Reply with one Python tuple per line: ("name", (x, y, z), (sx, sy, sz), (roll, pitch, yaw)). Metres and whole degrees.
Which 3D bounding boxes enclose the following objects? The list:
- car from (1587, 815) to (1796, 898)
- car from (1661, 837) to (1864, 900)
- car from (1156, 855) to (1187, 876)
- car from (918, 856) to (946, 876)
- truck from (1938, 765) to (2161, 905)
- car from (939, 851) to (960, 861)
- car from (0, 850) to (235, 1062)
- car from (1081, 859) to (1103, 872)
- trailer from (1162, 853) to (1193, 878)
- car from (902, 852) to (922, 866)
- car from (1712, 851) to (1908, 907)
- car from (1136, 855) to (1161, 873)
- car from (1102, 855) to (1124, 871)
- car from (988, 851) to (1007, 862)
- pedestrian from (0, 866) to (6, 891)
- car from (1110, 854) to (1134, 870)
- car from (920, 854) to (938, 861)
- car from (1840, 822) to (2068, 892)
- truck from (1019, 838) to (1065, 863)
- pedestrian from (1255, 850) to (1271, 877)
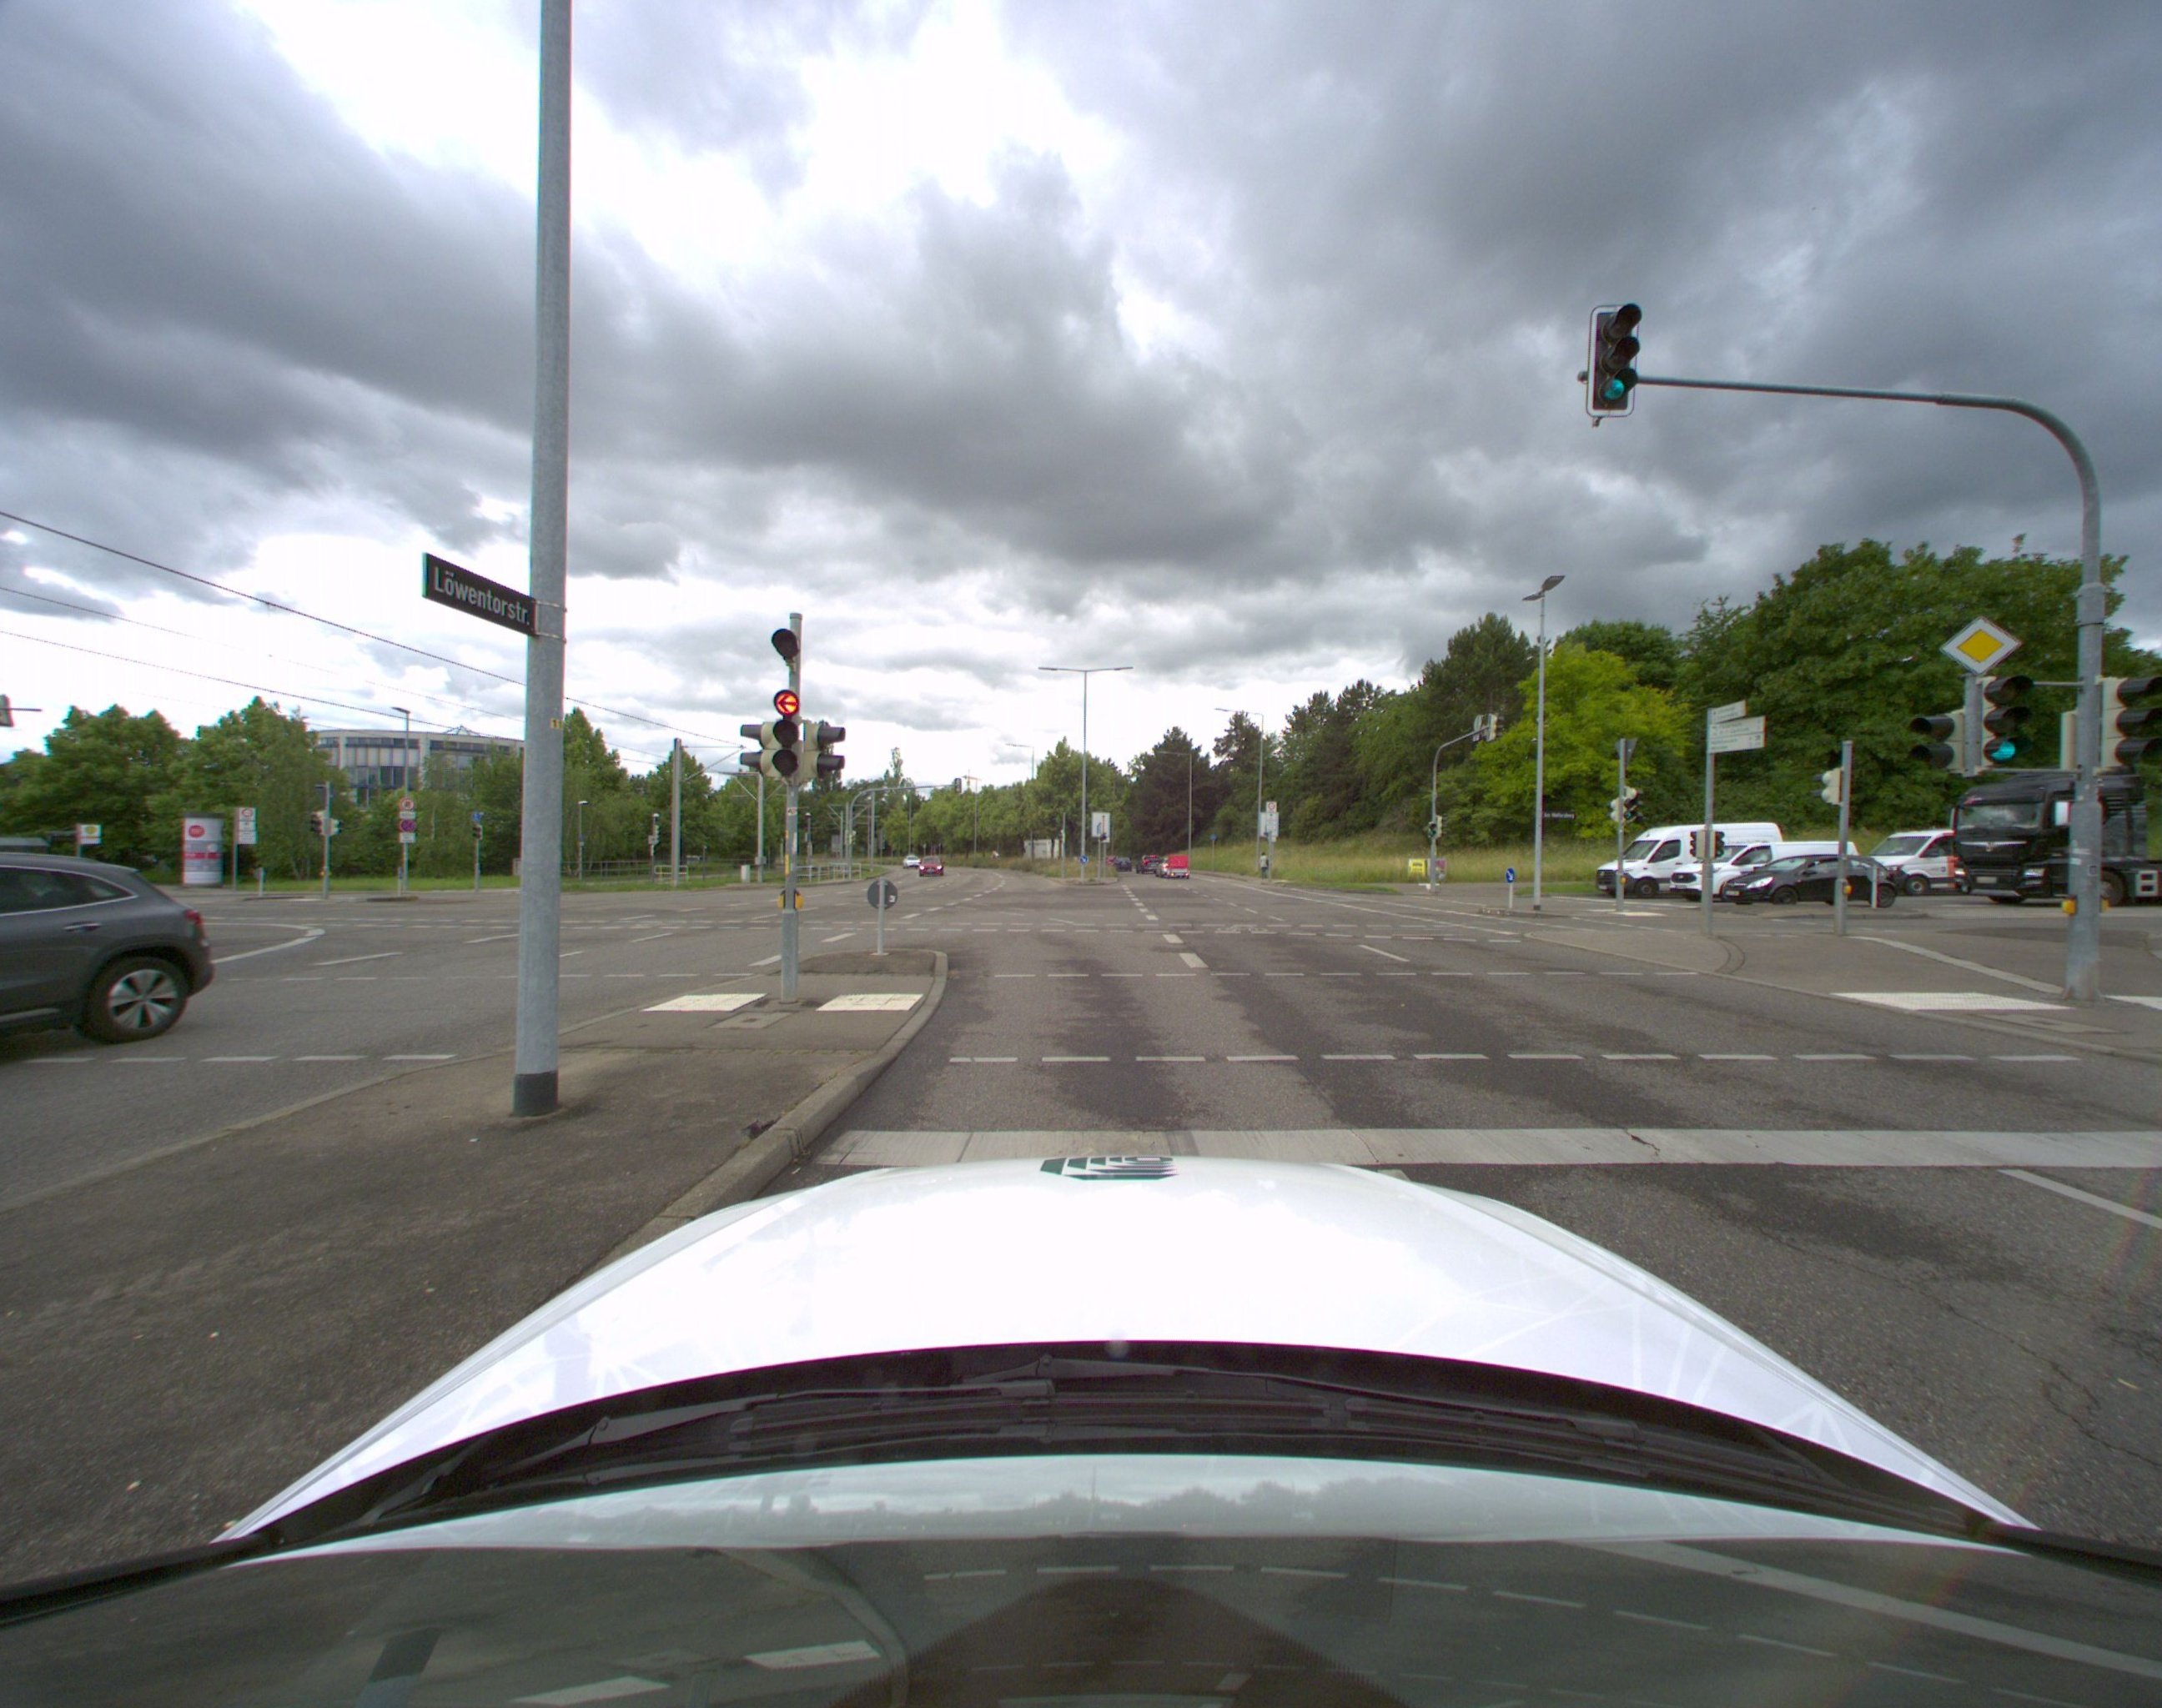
("car", (21.899, 0.092, 29.416), (5.870, 2.781, 2.136), (-1, 0, 2))
("car", (21.894, 0.449, 26.331), (4.836, 1.896, 2.034), (-1, 0, 1))
("car", (6.559, 0.833, 59.219), (1.772, 1.421, 4.459), (0, 0, 1))
("car", (-11.141, 0.856, 61.058), (1.779, 1.443, 4.414), (-1, 0, -7))
("truck", (27.936, -0.519, 22.276), (6.027, 3.538, 2.729), (-1, 0, 2))
("car", (-22.803, 0.428, 141.296), (2.009, 1.684, 3.956), (0, -1, -36))
("car", (-8.748, 0.750, 5.442), (1.772, 1.546, 4.223), (0, 0, -1))
("car", (1.275, 1.345, 96.875), (1.780, 1.546, 4.006), (-1, 0, -14))
("trailer", (6.521, 0.741, 55.477), (1.759, 1.616, 3.044), (0, 0, 0))
("car", (-20.744, 0.656, 99.955), (1.834, 1.629, 4.398), (-1, 0, -18))
("car", (20.282, 0.666, 22.779), (3.905, 1.436, 1.732), (-1, 0, 1))
("car", (5.955, 0.856, 71.929), (1.773, 1.546, 4.022), (0, 0, -2))
("car", (3.474, 0.939, 88.732), (1.777, 1.546, 4.014), (-2, 1, -7))
("car", (-13.149, 0.378, 127.499), (1.786, 1.546, 3.992), (-1, 0, -25))
("pedestrian", (-57.760, 1.299, 43.200), (0.774, 1.303, 0.666), (0, 0, 15))
("car", (4.122, 0.801, 82.492), (1.776, 1.546, 4.015), (0, 0, -7))
("car", (-33.275, 0.711, 178.386), (1.761, 1.546, 4.050), (0, 0, 32))
("car", (30.684, 0.106, 28.770), (5.677, 2.289, 2.136), (-1, 0, 2))
("truck", (-5.564, -0.485, 112.983), (2.751, 3.328, 11.322), (0, 0, -22))
("pedestrian", (11.288, 0.593, 50.569), (0.811, 1.627, 0.791), (0, 0, 1))
